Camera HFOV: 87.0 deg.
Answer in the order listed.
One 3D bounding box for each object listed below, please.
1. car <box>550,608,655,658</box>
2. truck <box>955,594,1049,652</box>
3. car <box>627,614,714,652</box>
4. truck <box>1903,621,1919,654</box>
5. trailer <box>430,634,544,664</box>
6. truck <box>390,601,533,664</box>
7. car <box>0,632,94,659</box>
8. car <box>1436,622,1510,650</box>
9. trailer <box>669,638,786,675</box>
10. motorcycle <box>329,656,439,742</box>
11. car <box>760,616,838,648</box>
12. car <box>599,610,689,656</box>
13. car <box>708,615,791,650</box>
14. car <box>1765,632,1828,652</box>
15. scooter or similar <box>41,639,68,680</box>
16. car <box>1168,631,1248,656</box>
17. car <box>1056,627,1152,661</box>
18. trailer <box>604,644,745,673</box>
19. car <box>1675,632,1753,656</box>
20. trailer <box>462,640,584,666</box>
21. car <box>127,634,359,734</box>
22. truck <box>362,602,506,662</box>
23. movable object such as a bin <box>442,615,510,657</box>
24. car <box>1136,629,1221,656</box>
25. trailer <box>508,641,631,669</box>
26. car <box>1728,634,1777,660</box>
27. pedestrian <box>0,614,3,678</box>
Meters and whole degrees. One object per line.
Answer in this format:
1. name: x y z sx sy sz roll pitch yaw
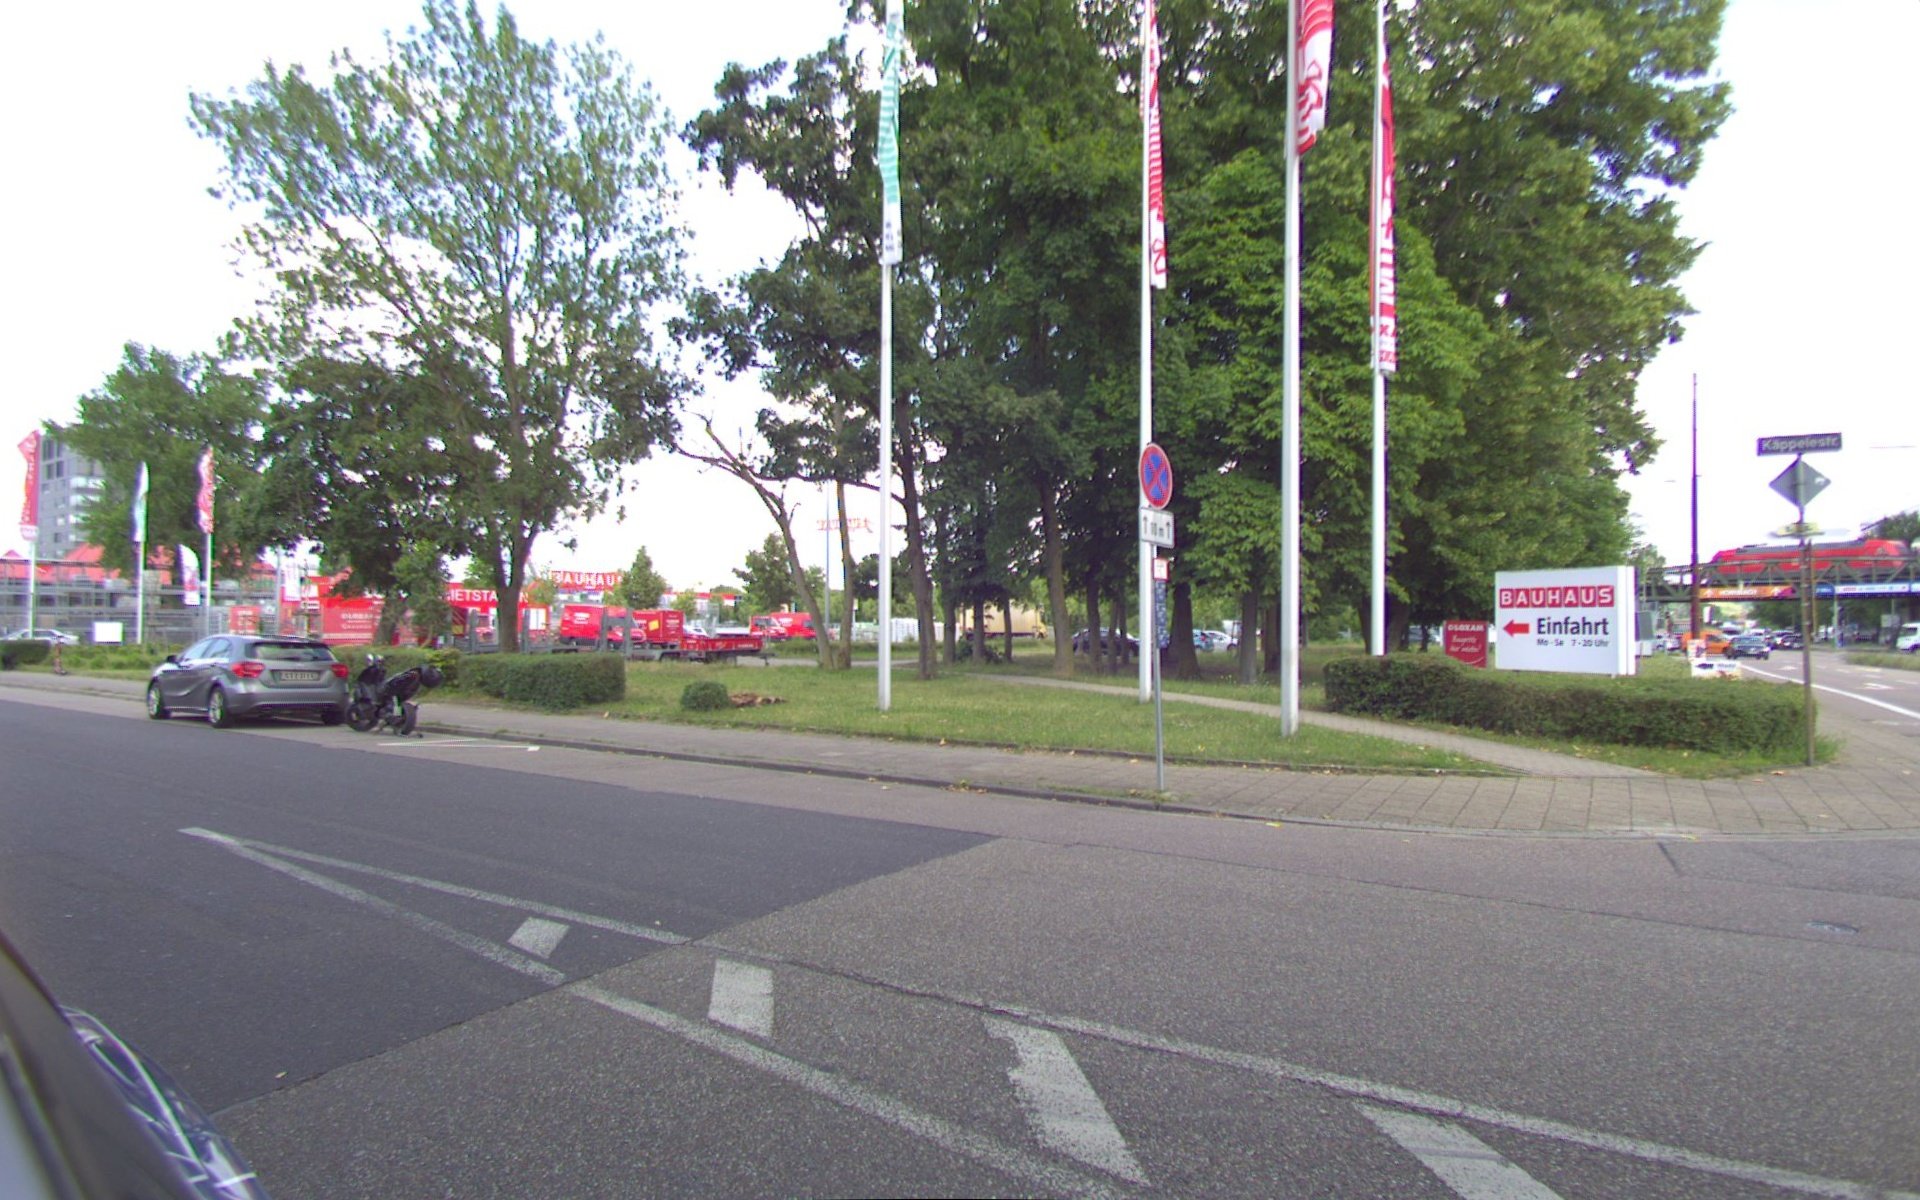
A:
1. car: -20.433 1.847 57.659 6.423 2.613 2.247 1 -1 35
2. truck: 3.179 1.695 74.313 2.980 3.979 8.254 1 -1 34
3. car: -20.294 2.262 70.851 6.420 2.433 2.248 1 -1 34
4. truck: 69.325 2.609 69.922 1.998 2.306 5.754 1 -2 -25
5. trailer: -20.119 2.068 43.223 1.666 1.129 4.202 1 -1 32
6. truck: -21.931 1.413 44.814 1.775 2.613 5.501 1 -1 34
7. car: -53.681 2.625 58.896 1.950 1.465 4.644 -1 -2 34
8. car: 46.734 3.241 92.299 2.325 2.461 5.929 1 -2 -23
9. trailer: -8.096 1.949 35.522 1.713 1.200 3.779 -2 -3 39
10. motorcycle: -8.412 1.423 14.766 1.798 1.147 0.616 -1 -5 35
11. car: -13.133 2.572 82.321 6.420 2.433 2.248 1 -1 34
12. car: -19.566 1.977 62.514 5.709 2.613 2.247 1 -1 35
13. car: -16.032 2.428 76.928 6.420 2.433 2.248 1 -1 34
14. car: 76.256 3.828 92.324 1.859 1.798 4.013 1 -2 -20
15. scooter or similar: -27.312 1.785 30.518 0.511 1.202 1.280 1 -2 -45
16. car: 15.386 2.676 62.848 4.399 1.423 1.977 -1 -2 34
17. car: 6.882 2.073 48.487 4.345 1.523 1.555 -1 -2 34
18. trailer: -10.331 2.096 36.901 2.185 0.920 4.550 -2 -3 38
19. car: 54.282 3.136 72.927 1.767 1.622 4.152 1 -2 -21
20. trailer: -18.060 2.163 41.970 2.152 0.919 4.202 1 -1 32
21. car: -11.798 1.320 16.569 4.321 1.431 1.694 -1 -5 35
22. truck: -24.291 1.458 47.016 1.811 2.613 5.704 1 -1 35
23. movable object such as a bin: -27.425 2.035 57.323 3.536 2.292 1.977 -1 -2 34
24. car: 12.473 2.397 57.895 4.399 1.423 1.977 -1 -2 34
25. trailer: -15.345 2.130 39.955 2.016 0.919 4.202 1 -1 32
26. car: 48.899 2.857 62.516 1.863 1.497 3.958 -1 -2 30
27. pedestrian: -31.028 1.450 32.058 0.883 2.029 0.803 -1 -2 33
